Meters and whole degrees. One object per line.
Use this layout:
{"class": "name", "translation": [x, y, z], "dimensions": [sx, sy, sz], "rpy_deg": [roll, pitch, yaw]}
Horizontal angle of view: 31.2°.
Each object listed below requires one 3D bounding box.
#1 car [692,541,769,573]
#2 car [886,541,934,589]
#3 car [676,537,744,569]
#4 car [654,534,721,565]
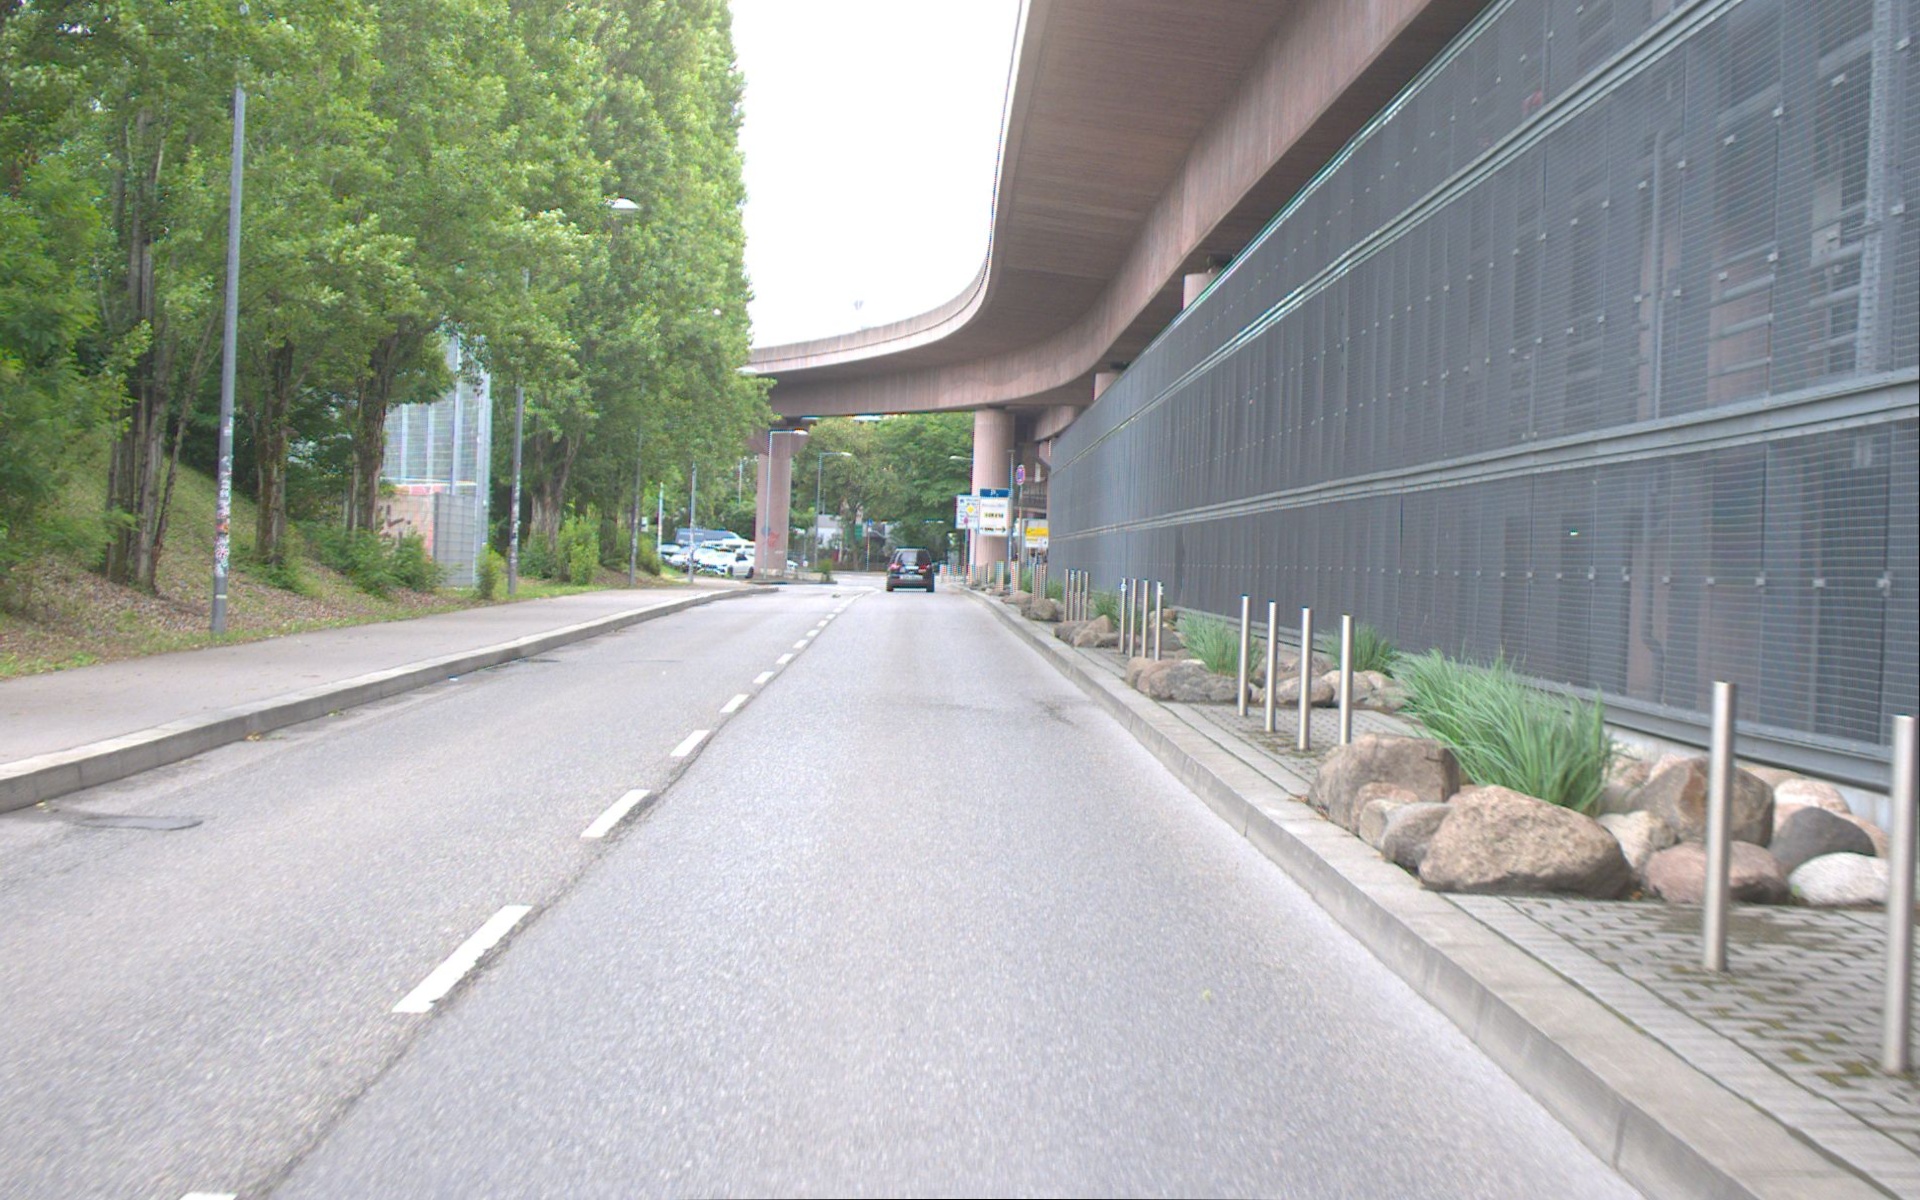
{"class": "car", "translation": [-12.677, -2.395, 190.015], "dimensions": [1.884, 1.711, 4.143], "rpy_deg": [4, 3, 41]}
{"class": "car", "translation": [-1.963, -1.403, 136.483], "dimensions": [1.839, 1.705, 3.706], "rpy_deg": [2, 2, 0]}
{"class": "car", "translation": [-14.124, -2.667, 194.353], "dimensions": [1.724, 1.711, 3.664], "rpy_deg": [4, 3, 41]}
{"class": "car", "translation": [-15.697, -2.895, 197.857], "dimensions": [1.724, 1.711, 3.664], "rpy_deg": [4, 3, 41]}
